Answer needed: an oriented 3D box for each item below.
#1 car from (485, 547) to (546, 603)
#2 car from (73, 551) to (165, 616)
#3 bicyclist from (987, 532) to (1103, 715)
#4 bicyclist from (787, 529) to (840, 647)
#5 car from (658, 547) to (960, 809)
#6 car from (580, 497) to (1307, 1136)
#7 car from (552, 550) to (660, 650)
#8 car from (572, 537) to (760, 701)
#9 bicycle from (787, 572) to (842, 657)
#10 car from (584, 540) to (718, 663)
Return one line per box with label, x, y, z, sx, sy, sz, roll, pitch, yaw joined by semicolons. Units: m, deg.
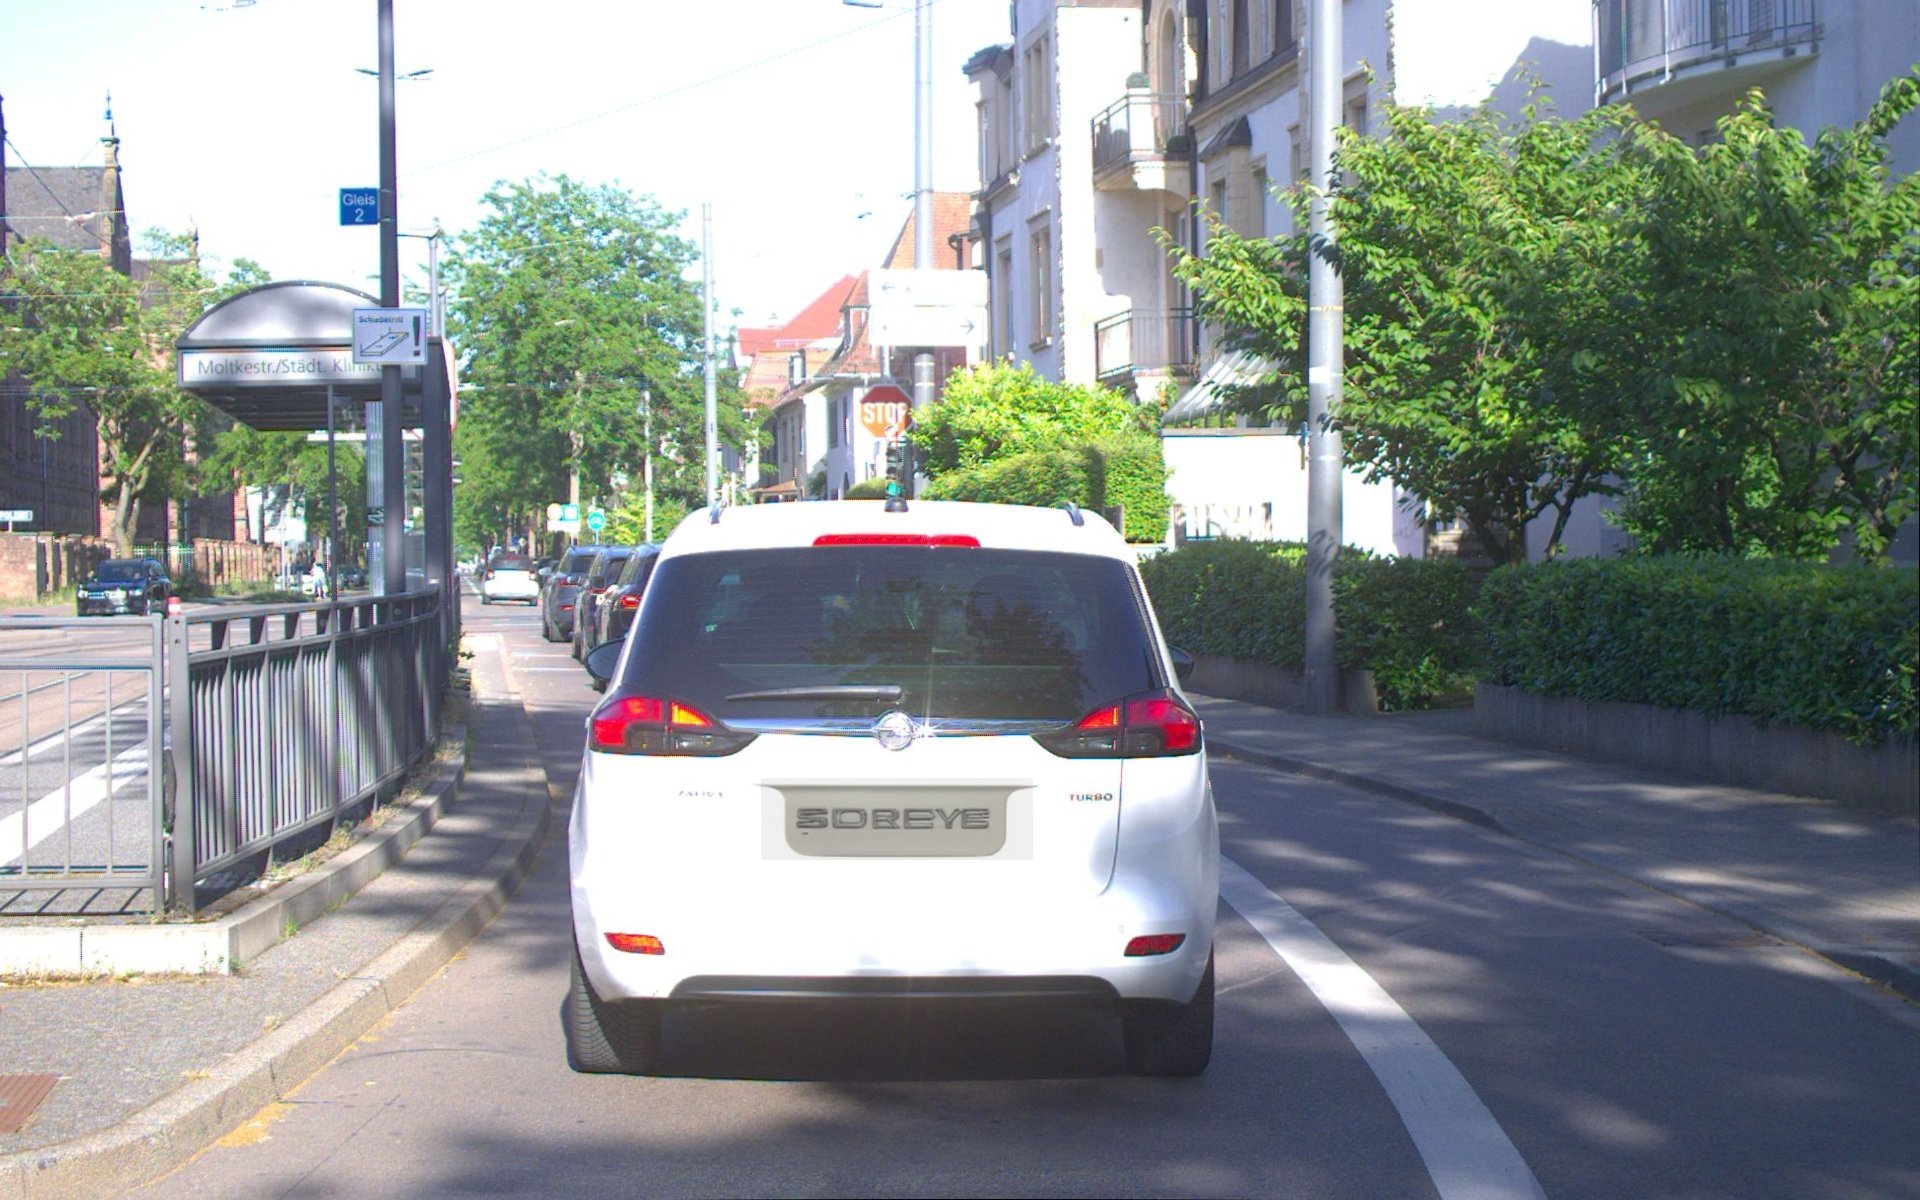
car;-13.707;-0.761;106.118;1.775;1.687;3.881;0;0;-6
car;-22.365;-0.460;91.558;1.906;1.671;4.359;0;1;-8
bicyclist;0.701;0.189;28.683;0.821;1.496;0.934;0;0;-8
bicyclist;-2.045;-0.172;47.844;0.685;1.629;1.016;0;0;-5
car;-1.005;0.401;21.053;1.586;1.415;3.901;-1;1;-6
car;-0.246;0.537;10.854;1.834;1.636;3.919;0;0;-7
car;-6.005;-0.015;58.424;1.775;1.626;3.881;0;0;-6
car;-3.143;0.175;36.214;1.775;1.626;3.881;0;0;-8
bicycle;-2.031;0.189;47.764;0.685;1.153;1.620;0;0;-5
car;-4.257;0.003;47.686;1.775;1.626;3.881;0;0;-4
